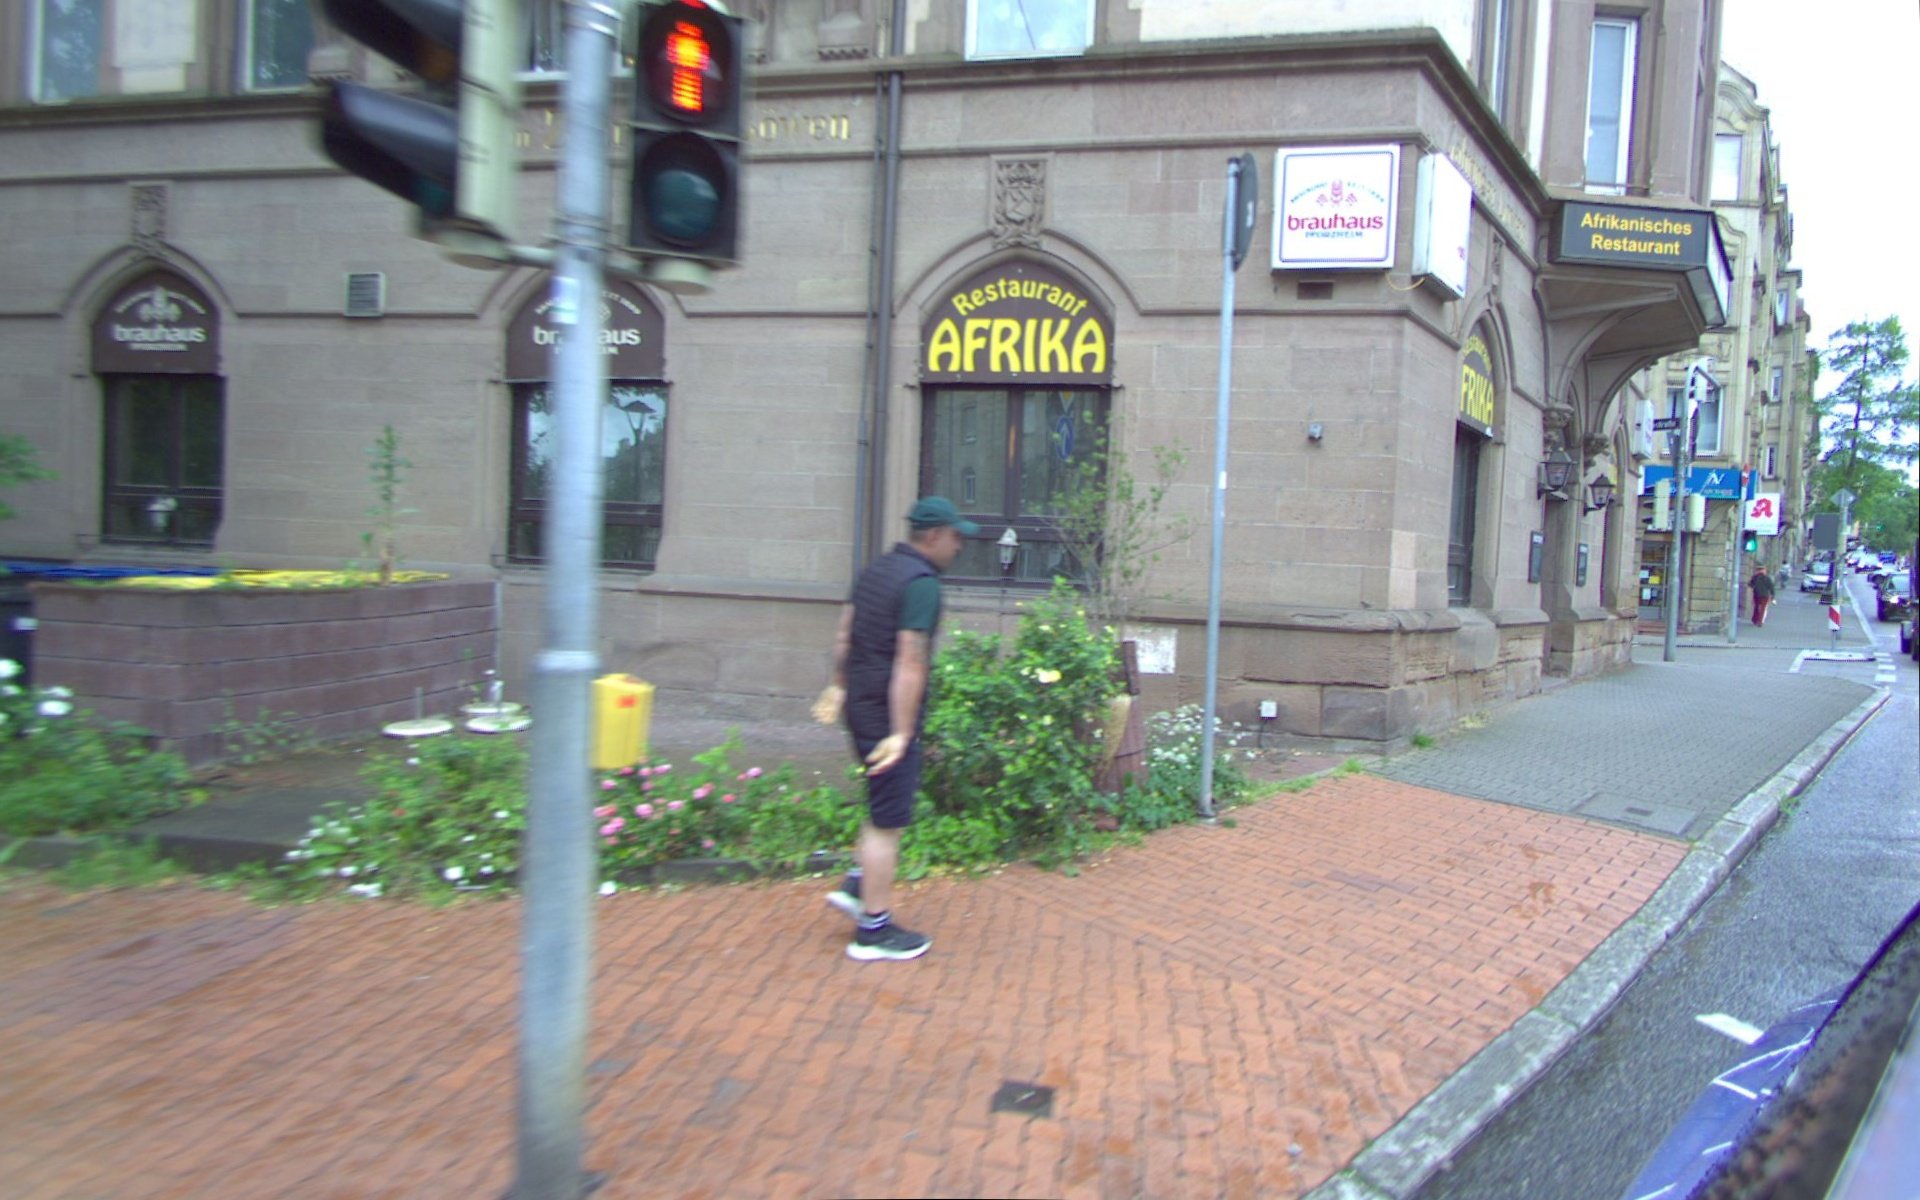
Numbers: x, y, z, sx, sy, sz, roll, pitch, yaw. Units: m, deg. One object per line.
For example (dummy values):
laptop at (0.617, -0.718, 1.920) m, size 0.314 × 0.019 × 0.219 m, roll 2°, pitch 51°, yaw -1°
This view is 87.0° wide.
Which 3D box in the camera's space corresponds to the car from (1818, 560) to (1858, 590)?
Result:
car at (49.517, -1.438, 57.089) m, size 1.543 × 1.503 × 3.708 m, roll 8°, pitch 7°, yaw 40°

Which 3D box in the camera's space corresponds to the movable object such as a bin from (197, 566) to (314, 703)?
movable object such as a bin at (-5.709, 0.266, 8.222) m, size 0.566 × 1.070 × 0.536 m, roll 0°, pitch 1°, yaw 8°

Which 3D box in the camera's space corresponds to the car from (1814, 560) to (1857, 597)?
car at (45.990, -1.150, 53.203) m, size 1.522 × 1.636 × 3.444 m, roll 8°, pitch 8°, yaw 40°

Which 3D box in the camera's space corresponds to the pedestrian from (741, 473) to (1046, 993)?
pedestrian at (-0.227, 0.424, 3.902) m, size 0.824 × 1.699 × 0.884 m, roll 0°, pitch 1°, yaw 30°

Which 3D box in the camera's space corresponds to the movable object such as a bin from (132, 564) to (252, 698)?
movable object such as a bin at (-6.331, 0.242, 8.358) m, size 0.584 × 1.070 × 0.530 m, roll 0°, pitch 1°, yaw 8°

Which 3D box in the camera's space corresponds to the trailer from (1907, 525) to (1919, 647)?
trailer at (23.127, -0.337, 23.142) m, size 1.932 × 2.669 × 4.614 m, roll 2°, pitch 2°, yaw 41°

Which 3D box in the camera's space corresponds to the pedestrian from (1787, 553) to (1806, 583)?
pedestrian at (44.839, -1.735, 54.229) m, size 0.643 × 1.513 × 0.681 m, roll 6°, pitch 9°, yaw 41°

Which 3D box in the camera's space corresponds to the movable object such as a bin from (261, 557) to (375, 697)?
movable object such as a bin at (-5.128, 0.203, 8.102) m, size 0.550 × 1.078 × 0.541 m, roll 0°, pitch 1°, yaw 8°

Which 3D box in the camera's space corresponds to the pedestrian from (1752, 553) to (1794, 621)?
pedestrian at (24.938, -0.429, 31.029) m, size 1.072 × 1.971 × 0.699 m, roll -5°, pitch 8°, yaw -40°
